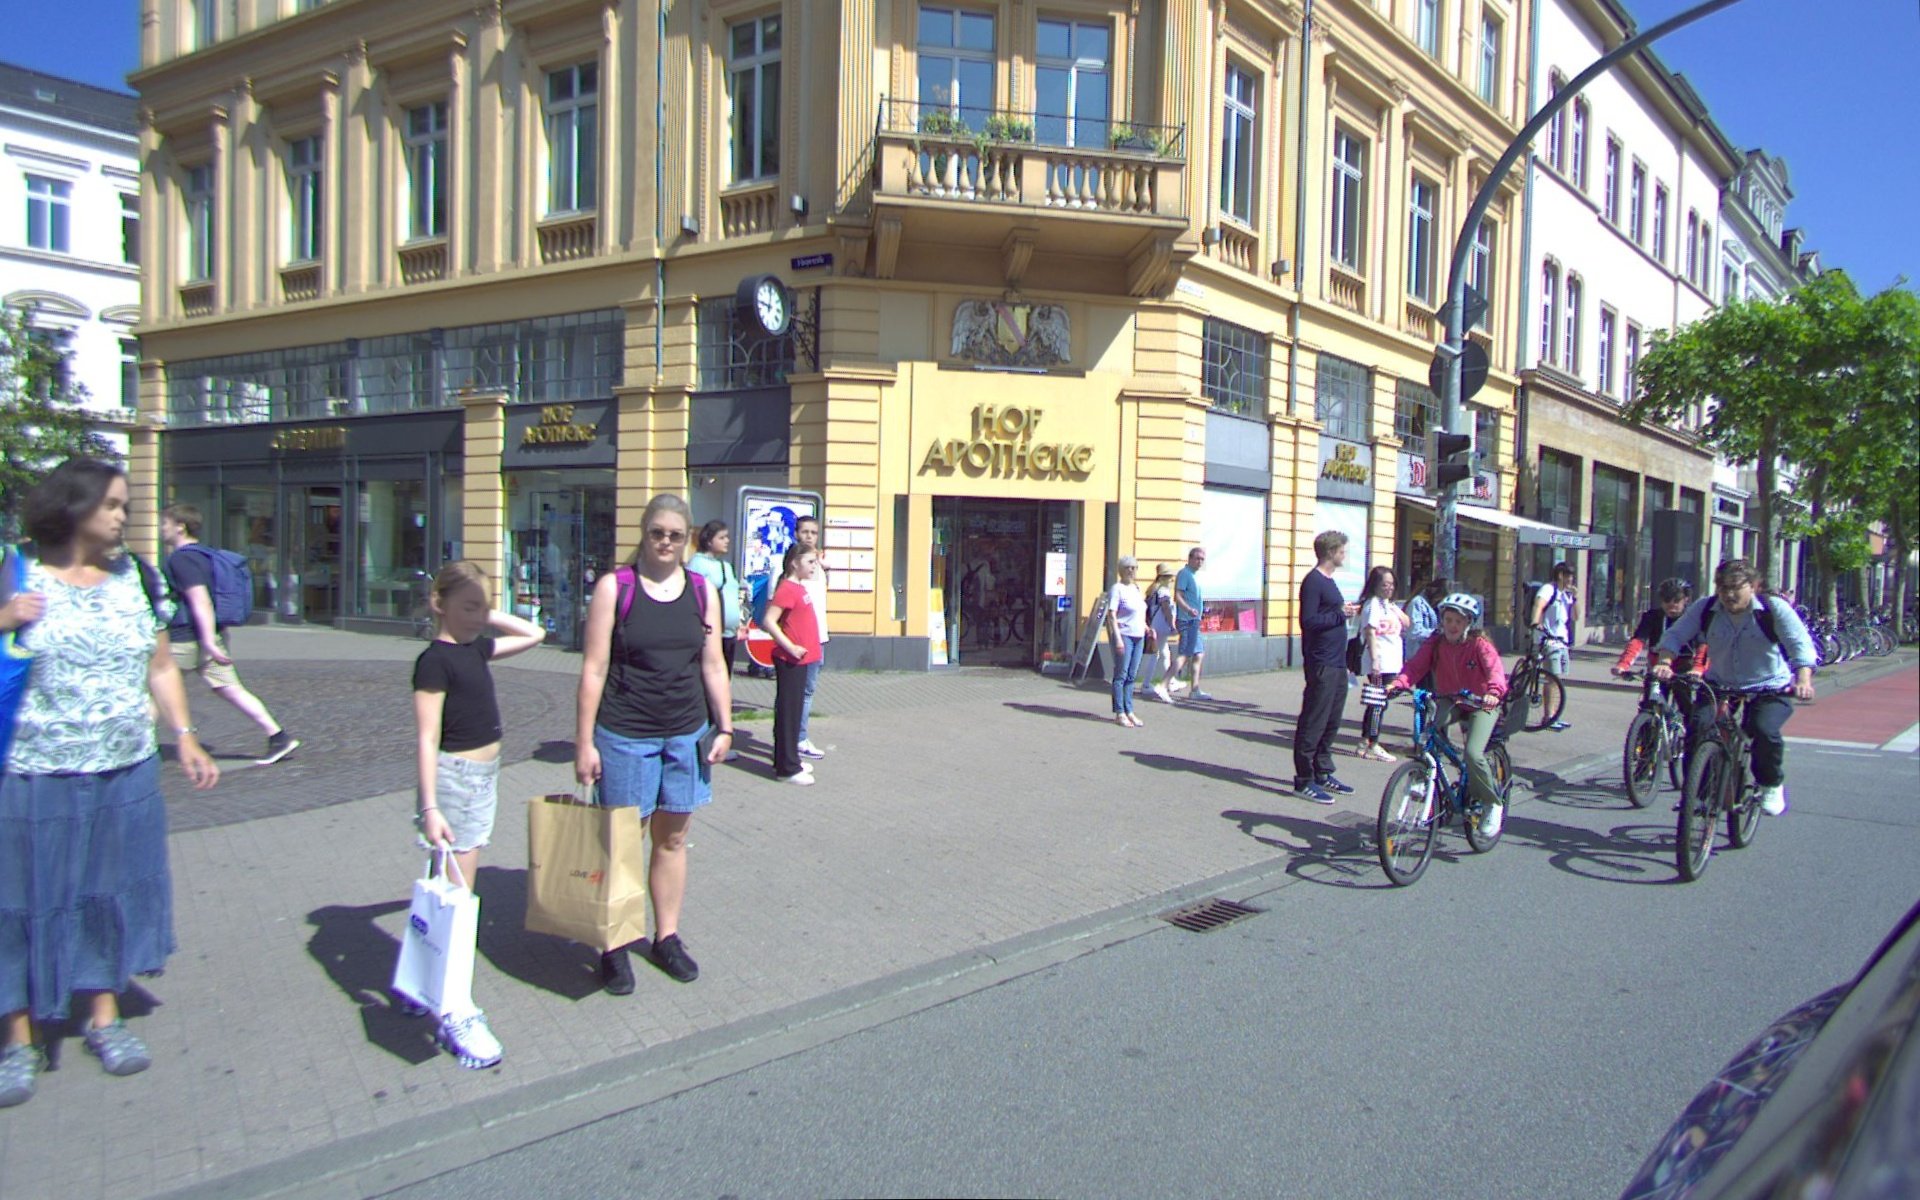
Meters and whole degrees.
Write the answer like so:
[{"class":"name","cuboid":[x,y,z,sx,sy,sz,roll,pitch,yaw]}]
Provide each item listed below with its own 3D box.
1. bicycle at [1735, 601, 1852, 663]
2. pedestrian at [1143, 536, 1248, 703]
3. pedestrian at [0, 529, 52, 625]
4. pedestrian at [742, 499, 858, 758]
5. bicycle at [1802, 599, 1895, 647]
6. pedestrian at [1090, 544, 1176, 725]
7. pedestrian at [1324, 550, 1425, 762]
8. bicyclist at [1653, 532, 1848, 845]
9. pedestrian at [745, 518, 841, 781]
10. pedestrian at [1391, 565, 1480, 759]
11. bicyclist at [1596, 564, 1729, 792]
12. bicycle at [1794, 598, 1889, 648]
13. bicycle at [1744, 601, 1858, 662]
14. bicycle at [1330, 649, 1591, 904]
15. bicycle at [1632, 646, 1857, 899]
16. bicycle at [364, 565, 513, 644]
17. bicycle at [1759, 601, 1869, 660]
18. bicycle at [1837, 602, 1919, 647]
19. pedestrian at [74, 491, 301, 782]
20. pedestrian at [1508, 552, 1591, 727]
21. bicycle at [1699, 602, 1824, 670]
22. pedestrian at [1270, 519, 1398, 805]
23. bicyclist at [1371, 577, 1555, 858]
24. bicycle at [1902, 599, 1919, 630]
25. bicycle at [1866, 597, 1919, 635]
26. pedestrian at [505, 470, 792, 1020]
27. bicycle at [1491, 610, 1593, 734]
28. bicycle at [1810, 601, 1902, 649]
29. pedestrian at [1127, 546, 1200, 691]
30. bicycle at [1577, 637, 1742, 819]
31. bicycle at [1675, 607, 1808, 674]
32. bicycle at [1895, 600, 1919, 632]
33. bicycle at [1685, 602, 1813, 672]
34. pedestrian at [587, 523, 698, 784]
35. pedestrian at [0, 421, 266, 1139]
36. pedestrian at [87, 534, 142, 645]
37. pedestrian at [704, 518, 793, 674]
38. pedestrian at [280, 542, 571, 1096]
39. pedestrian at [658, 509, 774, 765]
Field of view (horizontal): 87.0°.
[{"class":"bicycle","cuboid":[16.935,0.622,20.587,0.583,1.161,1.755,0,2,-43]},{"class":"pedestrian","cuboid":[2.683,0.200,11.572,0.843,1.814,0.759,0,1,-30]},{"class":"pedestrian","cuboid":[-17.008,-0.417,18.406,0.571,1.724,0.519,0,0,18]},{"class":"pedestrian","cuboid":[-1.202,0.183,7.566,0.594,1.836,0.578,0,4,-40]},{"class":"bicycle","cuboid":[23.054,0.573,26.278,0.583,1.161,1.755,0,2,-43]},{"class":"pedestrian","cuboid":[1.687,0.311,9.836,0.575,1.680,0.614,2,1,37]},{"class":"pedestrian","cuboid":[3.561,0.447,8.682,0.575,1.705,0.668,4,3,37]},{"class":"bicyclist","cuboid":[4.453,0.448,5.703,0.765,1.596,0.749,0,0,-42]},{"class":"pedestrian","cuboid":[-1.136,0.314,6.881,0.470,1.710,0.444,0,2,-40]},{"class":"pedestrian","cuboid":[4.185,0.514,8.905,0.528,1.615,0.581,4,4,37]},{"class":"bicyclist","cuboid":[5.277,0.539,7.600,0.765,1.596,0.688,0,0,-44]},{"class":"bicycle","cuboid":[22.233,0.550,25.550,0.583,1.161,1.755,0,2,-43]},{"class":"bicycle","cuboid":[17.484,0.632,21.066,0.583,1.161,1.755,0,2,-43]},{"class":"bicycle","cuboid":[2.842,0.874,5.655,1.788,1.106,0.735,0,0,-43]},{"class":"bicycle","cuboid":[4.514,0.871,5.771,1.866,1.106,0.735,-1,0,-43]},{"class":"bicycle","cuboid":[-8.093,0.065,15.685,2.393,1.166,0.775,0,0,25]},{"class":"bicycle","cuboid":[18.567,0.640,22.035,0.583,1.161,1.755,0,2,-43]},{"class":"bicycle","cuboid":[25.811,0.666,28.396,0.583,1.161,1.755,0,2,-43]},{"class":"pedestrian","cuboid":[-5.152,0.216,6.799,1.165,1.780,0.621,0,0,-39]},{"class":"pedestrian","cuboid":[6.394,0.396,10.972,0.646,1.801,0.614,4,4,35]},{"class":"bicycle","cuboid":[14.977,0.644,18.944,0.583,1.161,1.755,0,2,-43]},{"class":"pedestrian","cuboid":[2.659,0.401,7.186,0.575,1.897,0.671,5,3,37]},{"class":"bicyclist","cuboid":[2.785,0.584,5.606,0.765,1.414,0.689,0,0,-43]},{"class":"bicycle","cuboid":[37.327,0.577,38.782,0.583,1.161,1.755,0,2,-43]},{"class":"bicycle","cuboid":[30.811,0.520,33.061,0.583,1.161,1.755,0,2,-43]},{"class":"pedestrian","cuboid":[-1.119,0.450,3.667,0.576,1.751,0.708,5,2,41]},{"class":"bicycle","cuboid":[6.367,0.722,11.030,0.732,1.105,1.874,6,5,34]},{"class":"bicycle","cuboid":[23.752,0.643,26.842,0.583,1.161,1.755,0,2,-43]},{"class":"pedestrian","cuboid":[2.471,0.214,12.327,0.566,1.705,0.690,1,1,-19]},{"class":"bicycle","cuboid":[5.236,0.870,7.529,1.867,1.106,0.666,-1,0,-44]},{"class":"bicycle","cuboid":[13.592,0.680,17.637,0.583,1.048,1.755,0,2,-43]},{"class":"bicycle","cuboid":[35.438,0.609,37.035,0.583,1.161,1.755,0,2,-43]},{"class":"bicycle","cuboid":[14.339,0.646,18.426,0.583,1.161,1.755,0,2,-43]},{"class":"pedestrian","cuboid":[-2.088,0.319,6.638,0.525,1.623,0.513,0,2,-40]},{"class":"pedestrian","cuboid":[-2.467,0.418,2.818,0.599,1.756,0.643,5,3,26]},{"class":"pedestrian","cuboid":[-12.631,-0.151,15.119,0.611,1.609,0.577,0,0,-41]},{"class":"pedestrian","cuboid":[-2.568,-0.063,12.298,0.741,1.827,0.727,2,1,29]},{"class":"pedestrian","cuboid":[-1.619,0.605,3.168,0.658,1.515,0.639,3,3,-19]},{"class":"pedestrian","cuboid":[-1.767,0.241,7.307,0.611,1.747,0.578,0,2,-40]}]
